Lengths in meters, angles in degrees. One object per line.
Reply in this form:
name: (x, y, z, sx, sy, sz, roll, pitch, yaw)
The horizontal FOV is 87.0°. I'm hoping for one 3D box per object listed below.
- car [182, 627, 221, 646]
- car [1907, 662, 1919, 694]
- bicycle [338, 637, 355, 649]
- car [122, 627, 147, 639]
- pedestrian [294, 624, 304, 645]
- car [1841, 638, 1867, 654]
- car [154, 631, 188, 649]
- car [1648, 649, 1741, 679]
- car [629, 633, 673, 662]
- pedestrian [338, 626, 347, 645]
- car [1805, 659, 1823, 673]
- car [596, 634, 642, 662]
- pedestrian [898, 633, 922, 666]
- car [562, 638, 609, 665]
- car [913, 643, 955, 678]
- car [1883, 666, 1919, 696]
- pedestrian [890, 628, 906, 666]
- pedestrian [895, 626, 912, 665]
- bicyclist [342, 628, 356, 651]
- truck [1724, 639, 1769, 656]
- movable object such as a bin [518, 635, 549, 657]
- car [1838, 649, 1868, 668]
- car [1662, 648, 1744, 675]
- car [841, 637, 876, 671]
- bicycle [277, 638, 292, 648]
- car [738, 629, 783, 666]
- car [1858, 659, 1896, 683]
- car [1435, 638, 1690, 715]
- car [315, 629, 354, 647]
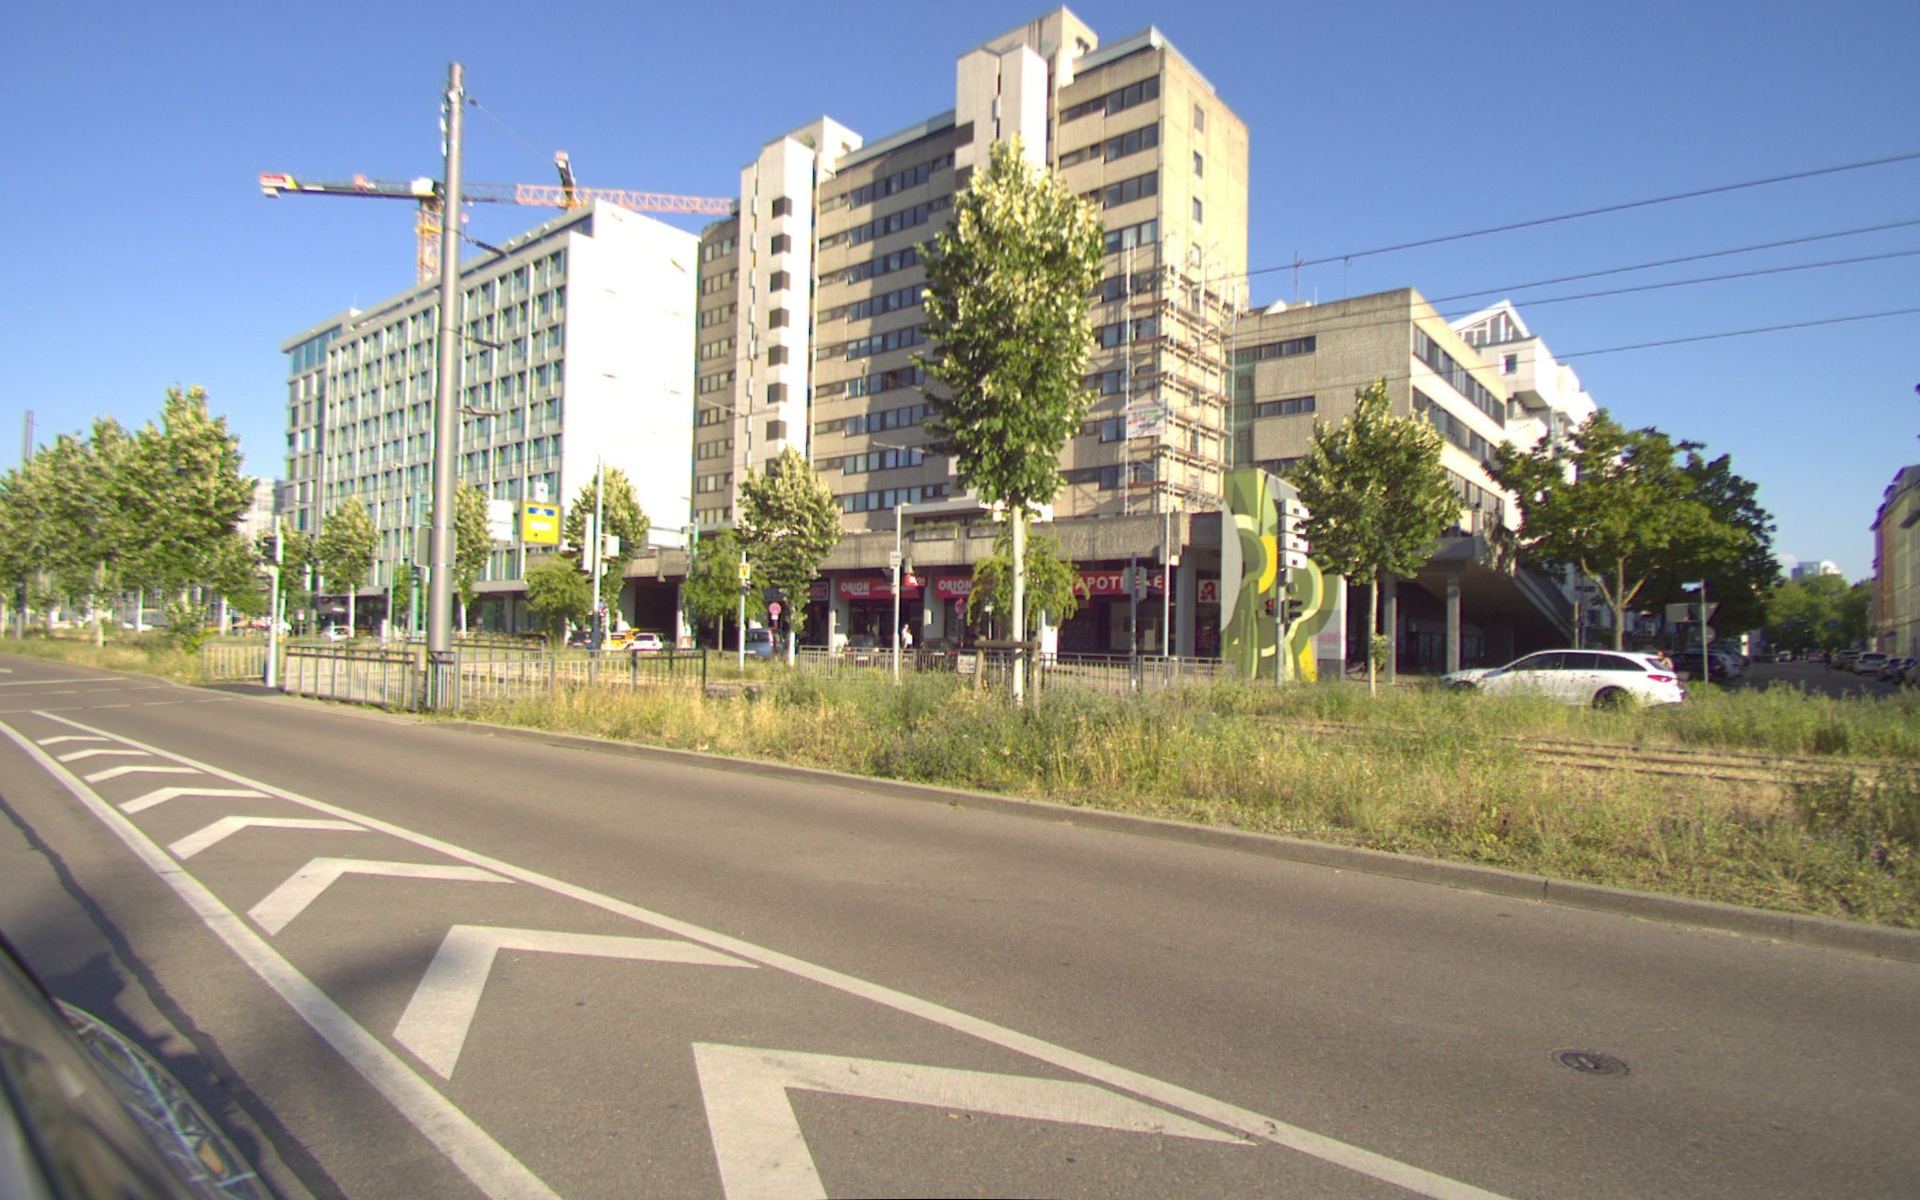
car: (-70.235, 3.370, 93.669, 4.635, 1.600, 1.851, 0, -1, 40)
car: (46.371, 3.709, 47.930, 1.845, 1.445, 3.948, -1, -3, 38)
bicycle: (-47.336, 3.303, 78.078, 2.100, 0.869, 0.432, -1, -3, 38)
car: (-98.523, 3.947, 120.765, 3.876, 1.388, 1.593, 0, -1, 40)
pedestrian: (-64.500, 3.340, 98.773, 0.725, 2.029, 0.614, -1, -3, 40)
car: (95.702, 4.940, 108.369, 1.820, 1.618, 3.835, -1, -3, 39)
car: (-79.977, 4.059, 102.566, 4.484, 1.715, 1.851, 0, -1, 40)
car: (40.552, 3.496, 55.913, 3.997, 1.524, 1.973, -1, -3, 41)
car: (-17.628, 2.686, 57.832, 1.597, 1.455, 3.796, 0, 0, -4)
pedestrian: (-56.437, 3.240, 92.552, 0.597, 1.648, 0.473, -1, -3, 40)
car: (137.135, 10.580, 162.529, 1.998, 2.029, 3.948, -1, -2, 39)
car: (-19.984, 2.779, 59.419, 1.762, 1.455, 3.807, 0, 0, -6)
pedestrian: (-2.548, 2.511, 51.674, 0.881, 1.652, 0.767, -1, -3, 38)
car: (-22.782, 3.121, 61.747, 1.596, 1.455, 4.553, 0, 0, -6)
car: (-1.146, 2.540, 43.035, 1.597, 1.283, 3.470, 0, 0, -5)
car: (55.016, 4.690, 58.778, 1.820, 1.618, 3.835, -1, -3, 39)
pedestrian: (-3.397, 2.545, 55.166, 0.654, 2.029, 0.542, -1, -3, 39)
pedestrian: (-3.001, 2.396, 53.554, 0.654, 2.029, 0.542, -1, -3, 39)
bicyclist: (-47.090, 3.028, 77.989, 0.918, 1.758, 0.552, -1, -3, 38)
truck: (103.962, 6.266, 133.821, 4.609, 2.185, 1.799, -1, -2, 36)
movable object such as a bin: (-27.228, 2.954, 64.578, 1.170, 1.382, 1.373, -1, -3, 38)
car: (79.650, 5.220, 90.289, 1.820, 1.618, 3.835, -1, -3, 39)
car: (46.555, 3.833, 63.422, 3.997, 1.524, 1.973, -1, -3, 41)
car: (-4.719, 2.500, 47.349, 1.597, 1.413, 3.470, 0, 0, -5)
bicycle: (-58.548, 3.712, 87.677, 2.100, 0.869, 0.432, -1, -3, 38)
car: (-10.082, 2.382, 51.348, 1.598, 1.703, 4.198, 0, 0, -2)
car: (66.352, 5.115, 73.276, 1.820, 1.618, 3.835, -1, -3, 39)
car: (13.227, 1.614, 22.386, 4.657, 1.474, 1.759, -1, -2, 39)
car: (-53.179, 3.218, 86.080, 3.386, 1.477, 1.851, 0, -1, 40)
